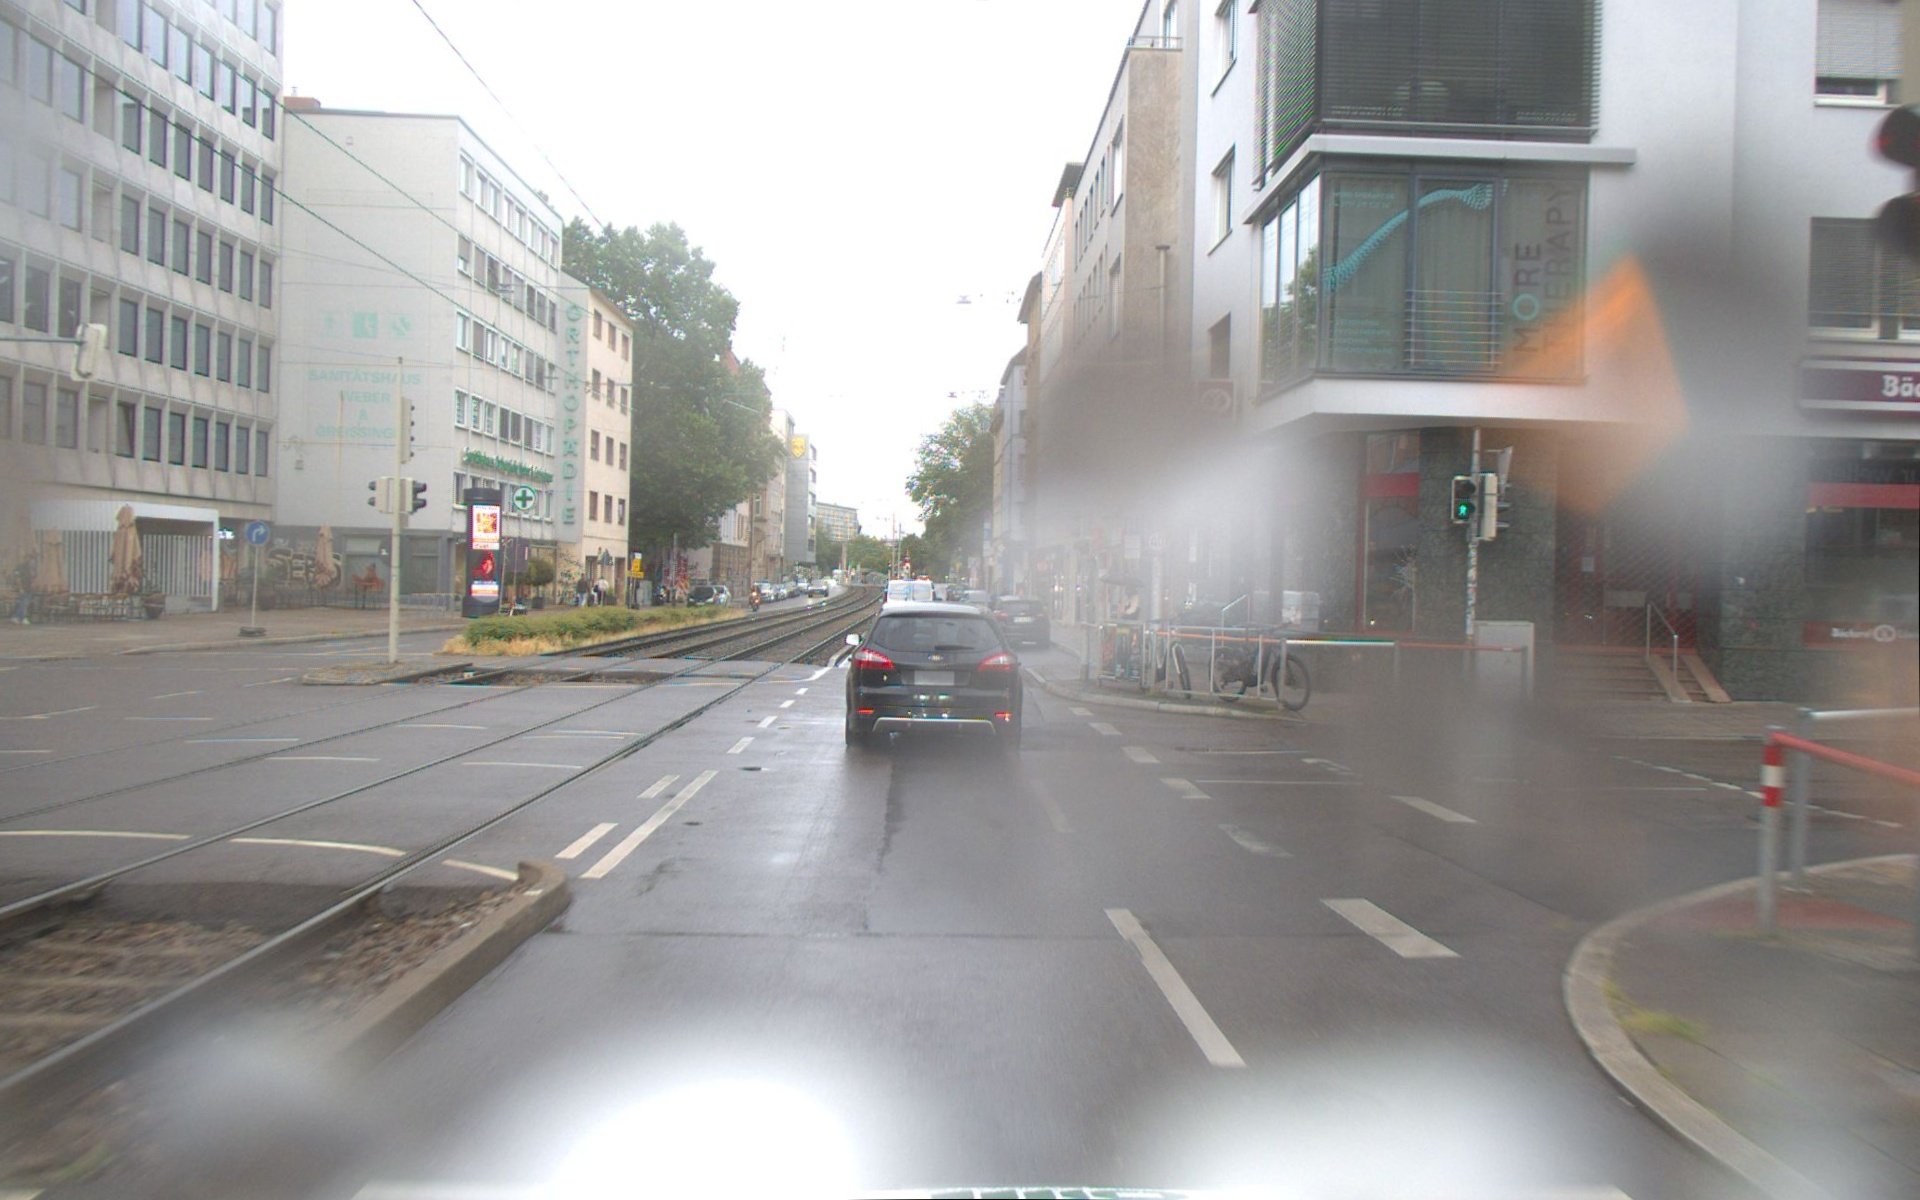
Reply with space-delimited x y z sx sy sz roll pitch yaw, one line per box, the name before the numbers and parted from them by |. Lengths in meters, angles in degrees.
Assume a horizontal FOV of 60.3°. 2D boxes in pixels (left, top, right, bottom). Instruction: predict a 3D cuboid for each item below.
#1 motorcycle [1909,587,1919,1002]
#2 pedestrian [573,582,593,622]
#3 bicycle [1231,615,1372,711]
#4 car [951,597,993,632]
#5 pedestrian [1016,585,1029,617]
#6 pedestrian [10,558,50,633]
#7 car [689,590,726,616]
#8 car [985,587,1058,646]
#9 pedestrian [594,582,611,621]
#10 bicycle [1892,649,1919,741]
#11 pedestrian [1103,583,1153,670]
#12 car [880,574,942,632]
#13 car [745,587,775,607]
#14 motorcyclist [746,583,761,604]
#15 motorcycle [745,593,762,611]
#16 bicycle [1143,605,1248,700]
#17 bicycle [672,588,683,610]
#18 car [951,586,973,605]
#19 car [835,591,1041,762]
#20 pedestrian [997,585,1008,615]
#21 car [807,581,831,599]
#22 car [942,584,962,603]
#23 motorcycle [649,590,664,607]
motorcycle | 4.066 0.703 6.036 1.121 1.487 0.675 1 0 -38
pedestrian | -18.522 0.091 81.316 0.712 1.929 0.982 1 0 -1
bicycle | 4.524 0.818 22.056 0.572 1.177 1.930 1 0 -37
car | 0.549 0.695 80.133 1.953 1.622 4.571 0 0 -1
pedestrian | 4.013 0.051 106.442 0.721 2.048 0.821 1 1 -2
pedestrian | -23.353 -0.121 41.548 0.553 1.854 0.843 1 0 -6
car | -15.569 0.166 101.990 1.708 1.494 4.219 0 1 -1
car | 1.756 0.469 48.492 1.953 1.622 4.270 0 0 -1
pedestrian | -17.540 0.069 81.115 0.665 1.929 0.742 1 0 -1
bicycle | 11.804 1.091 18.914 1.887 1.028 0.755 0 0 -4
pedestrian | 3.141 0.488 30.935 0.650 1.610 0.774 1 0 -23
car | -1.590 0.117 55.041 1.953 1.848 4.270 0 0 -1
car | -16.350 -0.271 135.415 1.953 1.545 4.434 1 0 -1
motorcyclist | -12.368 -0.396 99.221 0.726 1.239 0.970 1 0 0
motorcycle | -12.386 0.121 99.271 0.727 1.078 1.931 1 0 1
bicycle | 3.348 0.732 23.710 0.491 1.281 1.941 1 0 -25
bicycle | -16.921 -0.062 99.118 0.580 1.248 2.399 1 0 -8
car | 0.157 -0.406 143.193 1.703 1.515 3.999 1 1 -2
car | -0.233 0.736 17.843 1.953 1.622 4.270 0 0 -1
pedestrian | 2.735 -0.013 106.306 0.648 1.884 0.821 1 1 -2
car | -13.437 -0.921 158.226 1.953 1.546 4.442 2 -1 -1
car | -0.744 -0.593 147.705 1.609 1.542 4.038 1 1 -2
motorcycle | -20.163 -0.096 109.918 0.626 1.051 2.119 1 0 -3
